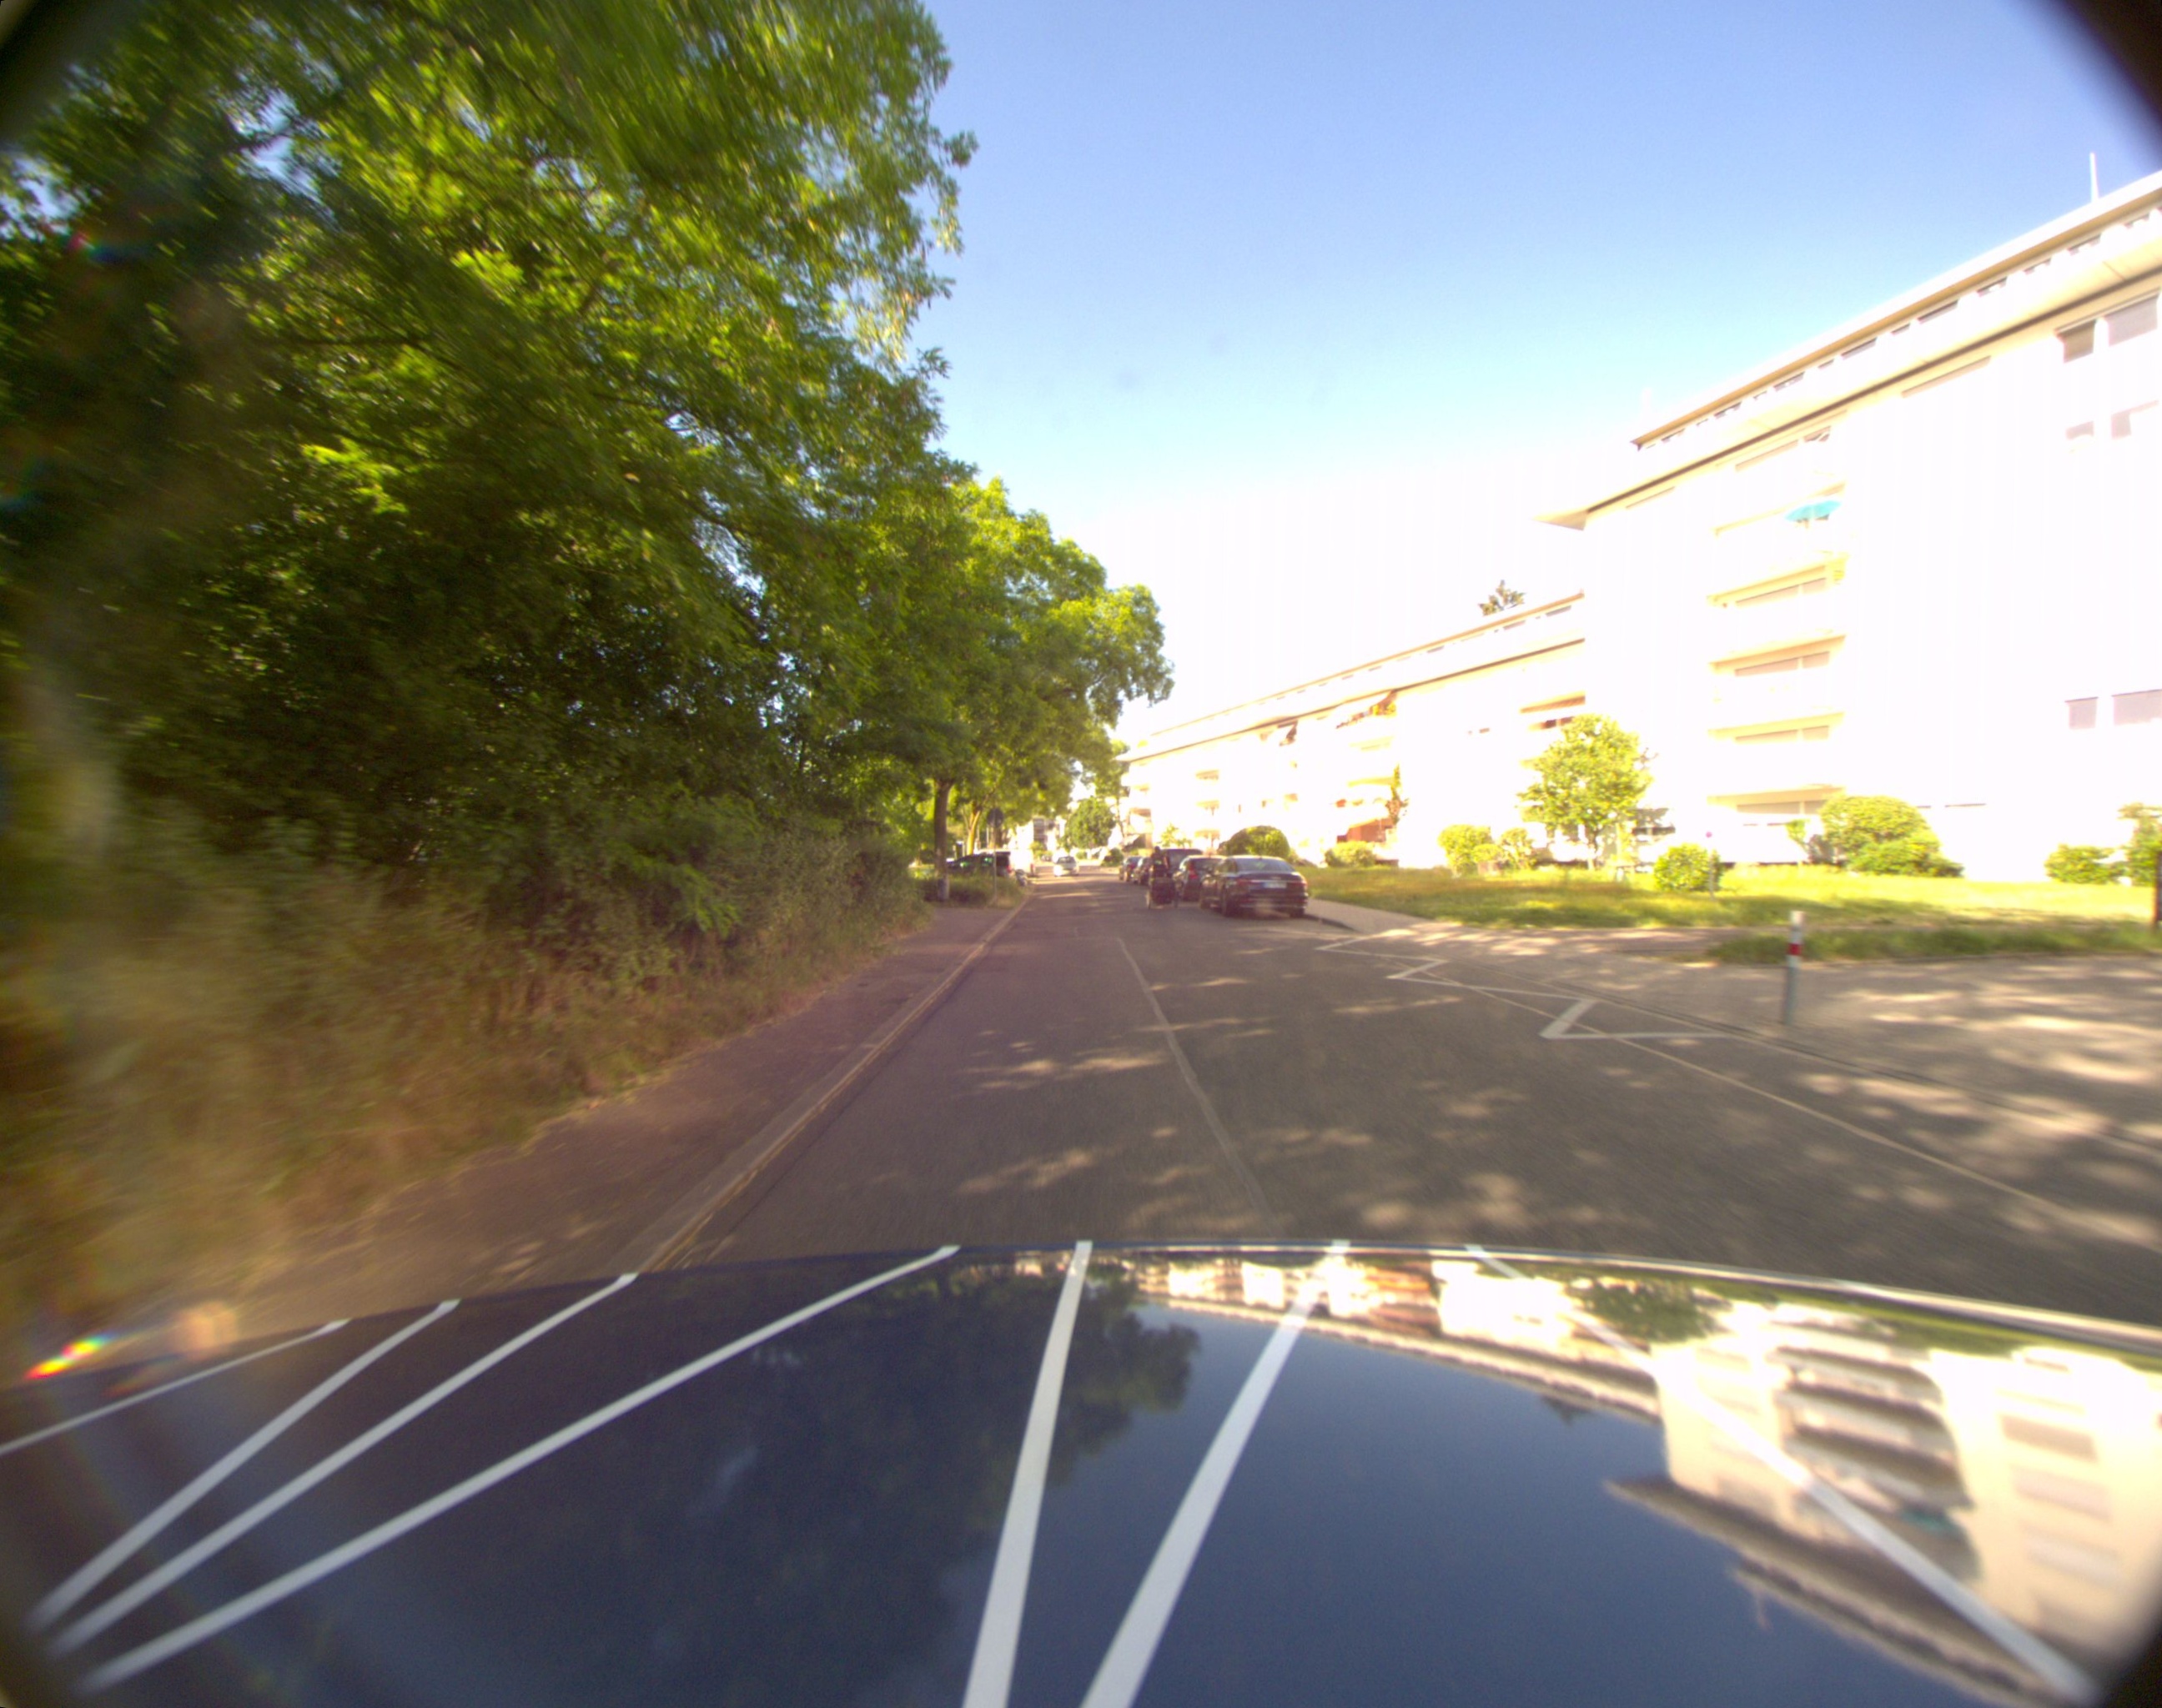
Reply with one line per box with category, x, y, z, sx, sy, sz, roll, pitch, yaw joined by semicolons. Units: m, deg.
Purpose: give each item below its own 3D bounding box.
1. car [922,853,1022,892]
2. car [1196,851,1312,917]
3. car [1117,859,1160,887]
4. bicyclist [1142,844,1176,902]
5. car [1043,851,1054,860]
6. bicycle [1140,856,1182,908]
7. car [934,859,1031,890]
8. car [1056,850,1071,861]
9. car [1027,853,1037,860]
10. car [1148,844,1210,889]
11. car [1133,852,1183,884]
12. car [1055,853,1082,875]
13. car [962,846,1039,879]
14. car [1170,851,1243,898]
car;-4.805;0.802;33.803;4.159;1.685;1.775;0;0;0
car;4.209;0.684;19.230;1.732;1.455;4.681;0;0;-2
car;3.275;1.042;44.063;1.845;1.473;4.798;0;0;-4
bicyclist;2.279;0.530;22.243;0.847;1.648;1.064;-1;1;0
car;-6.288;0.357;148.591;1.694;1.661;4.049;-2;1;-8
bicycle;2.279;0.751;22.075;0.853;1.362;3.220;-1;1;0
car;-4.642;0.942;36.399;4.463;1.406;1.774;0;0;-3
car;-2.974;0.238;129.958;2.008;1.837;4.613;-3;1;-7
car;-11.414;0.542;177.030;1.796;1.535;4.047;-4;1;-13
car;4.061;0.481;32.348;1.845;1.770;4.887;0;0;-2
car;3.806;0.645;38.371;1.845;1.473;4.573;2;0;-3
car;-0.938;0.689;54.478;1.598;1.417;4.168;1;0;-6
car;-4.864;0.506;46.453;4.463;2.005;2.021;0;0;-1
car;4.171;0.655;25.803;1.844;1.446;4.018;0;0;0
